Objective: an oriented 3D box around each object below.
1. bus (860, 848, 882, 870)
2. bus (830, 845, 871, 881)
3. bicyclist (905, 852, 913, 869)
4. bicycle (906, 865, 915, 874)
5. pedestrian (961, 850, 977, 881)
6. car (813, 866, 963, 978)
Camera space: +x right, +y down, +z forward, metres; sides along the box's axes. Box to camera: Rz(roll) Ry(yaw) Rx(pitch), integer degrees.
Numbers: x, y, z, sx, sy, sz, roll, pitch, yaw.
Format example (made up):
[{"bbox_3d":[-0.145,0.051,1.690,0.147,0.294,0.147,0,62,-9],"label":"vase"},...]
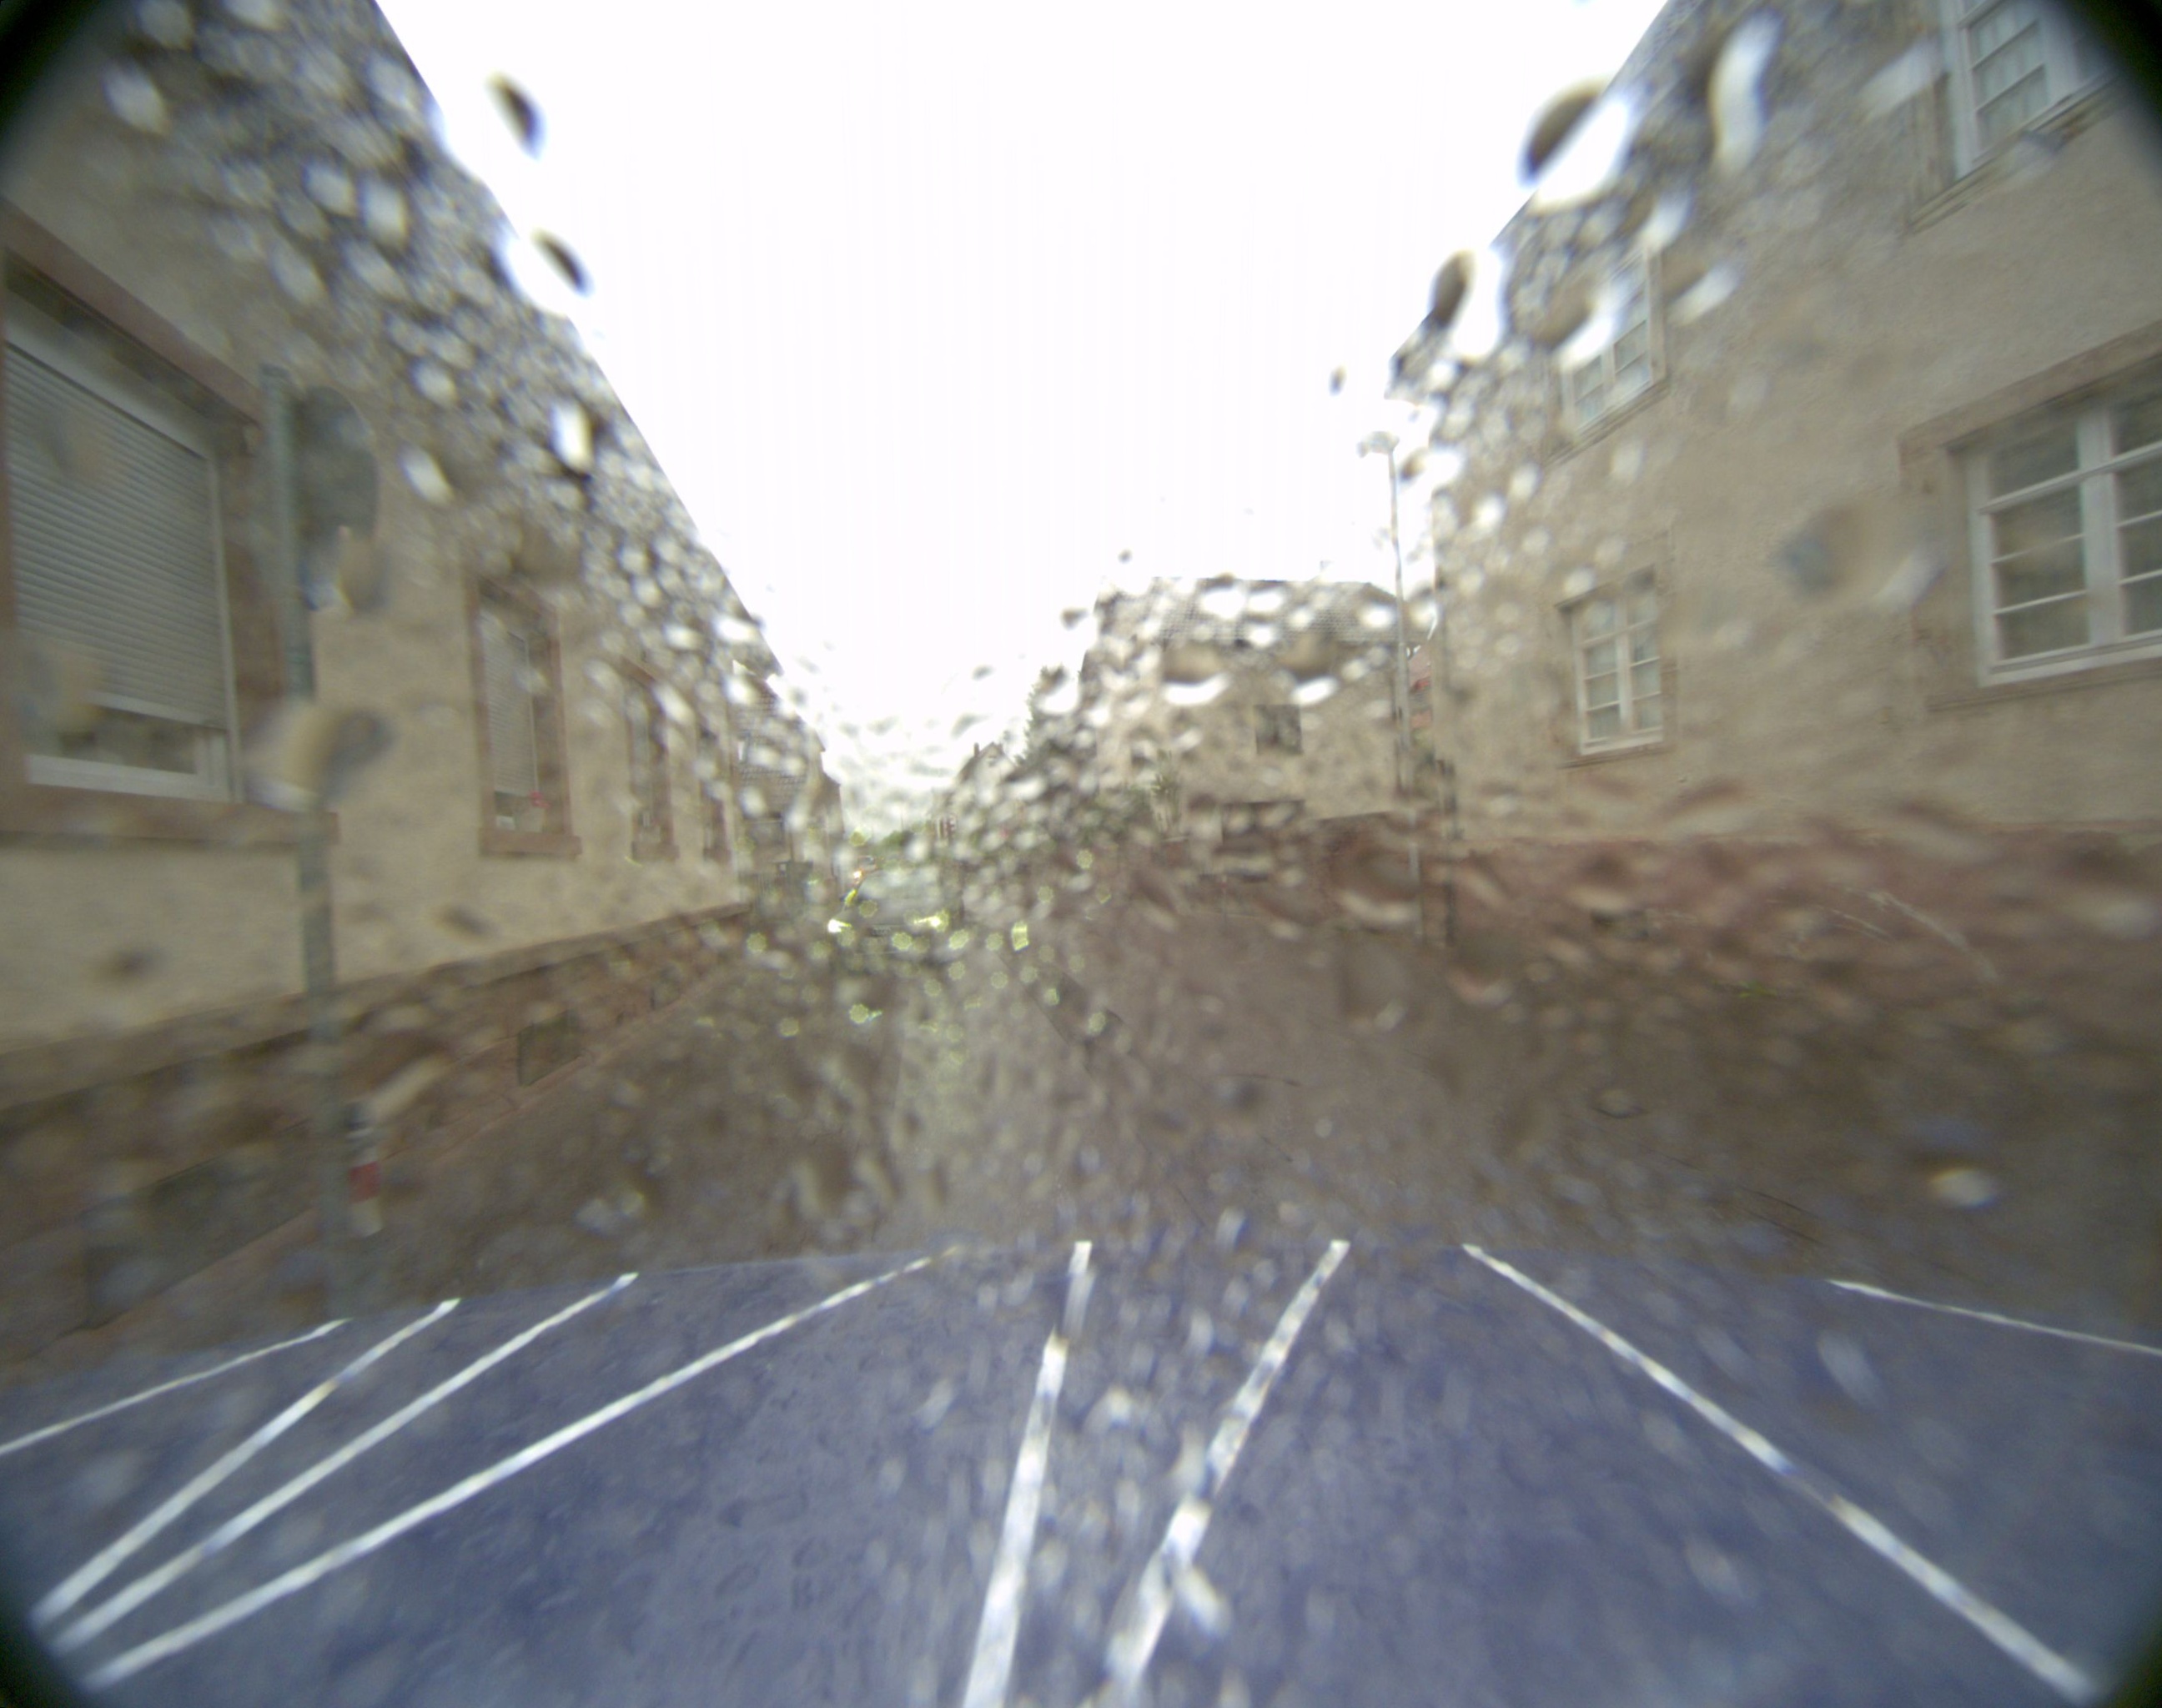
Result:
[{"bbox_3d":[-31.480,0.802,113.976,2.817,2.922,11.925,-5,1,-15],"label":"bus"},{"bbox_3d":[-25.224,0.917,82.586,3.446,3.392,13.848,-4,1,-19],"label":"bus"},{"bbox_3d":[-19.251,0.727,85.176,0.659,1.759,0.702,-5,0,-21],"label":"bicyclist"},{"bbox_3d":[-19.143,1.735,85.203,0.664,0.865,1.932,-5,-1,-22],"label":"bicycle"},{"bbox_3d":[-6.420,0.662,43.527,0.697,1.722,0.820,-4,1,-20],"label":"pedestrian"},{"bbox_3d":[-2.956,0.957,12.497,1.781,1.348,4.185,-4,0,-7],"label":"car"}]
